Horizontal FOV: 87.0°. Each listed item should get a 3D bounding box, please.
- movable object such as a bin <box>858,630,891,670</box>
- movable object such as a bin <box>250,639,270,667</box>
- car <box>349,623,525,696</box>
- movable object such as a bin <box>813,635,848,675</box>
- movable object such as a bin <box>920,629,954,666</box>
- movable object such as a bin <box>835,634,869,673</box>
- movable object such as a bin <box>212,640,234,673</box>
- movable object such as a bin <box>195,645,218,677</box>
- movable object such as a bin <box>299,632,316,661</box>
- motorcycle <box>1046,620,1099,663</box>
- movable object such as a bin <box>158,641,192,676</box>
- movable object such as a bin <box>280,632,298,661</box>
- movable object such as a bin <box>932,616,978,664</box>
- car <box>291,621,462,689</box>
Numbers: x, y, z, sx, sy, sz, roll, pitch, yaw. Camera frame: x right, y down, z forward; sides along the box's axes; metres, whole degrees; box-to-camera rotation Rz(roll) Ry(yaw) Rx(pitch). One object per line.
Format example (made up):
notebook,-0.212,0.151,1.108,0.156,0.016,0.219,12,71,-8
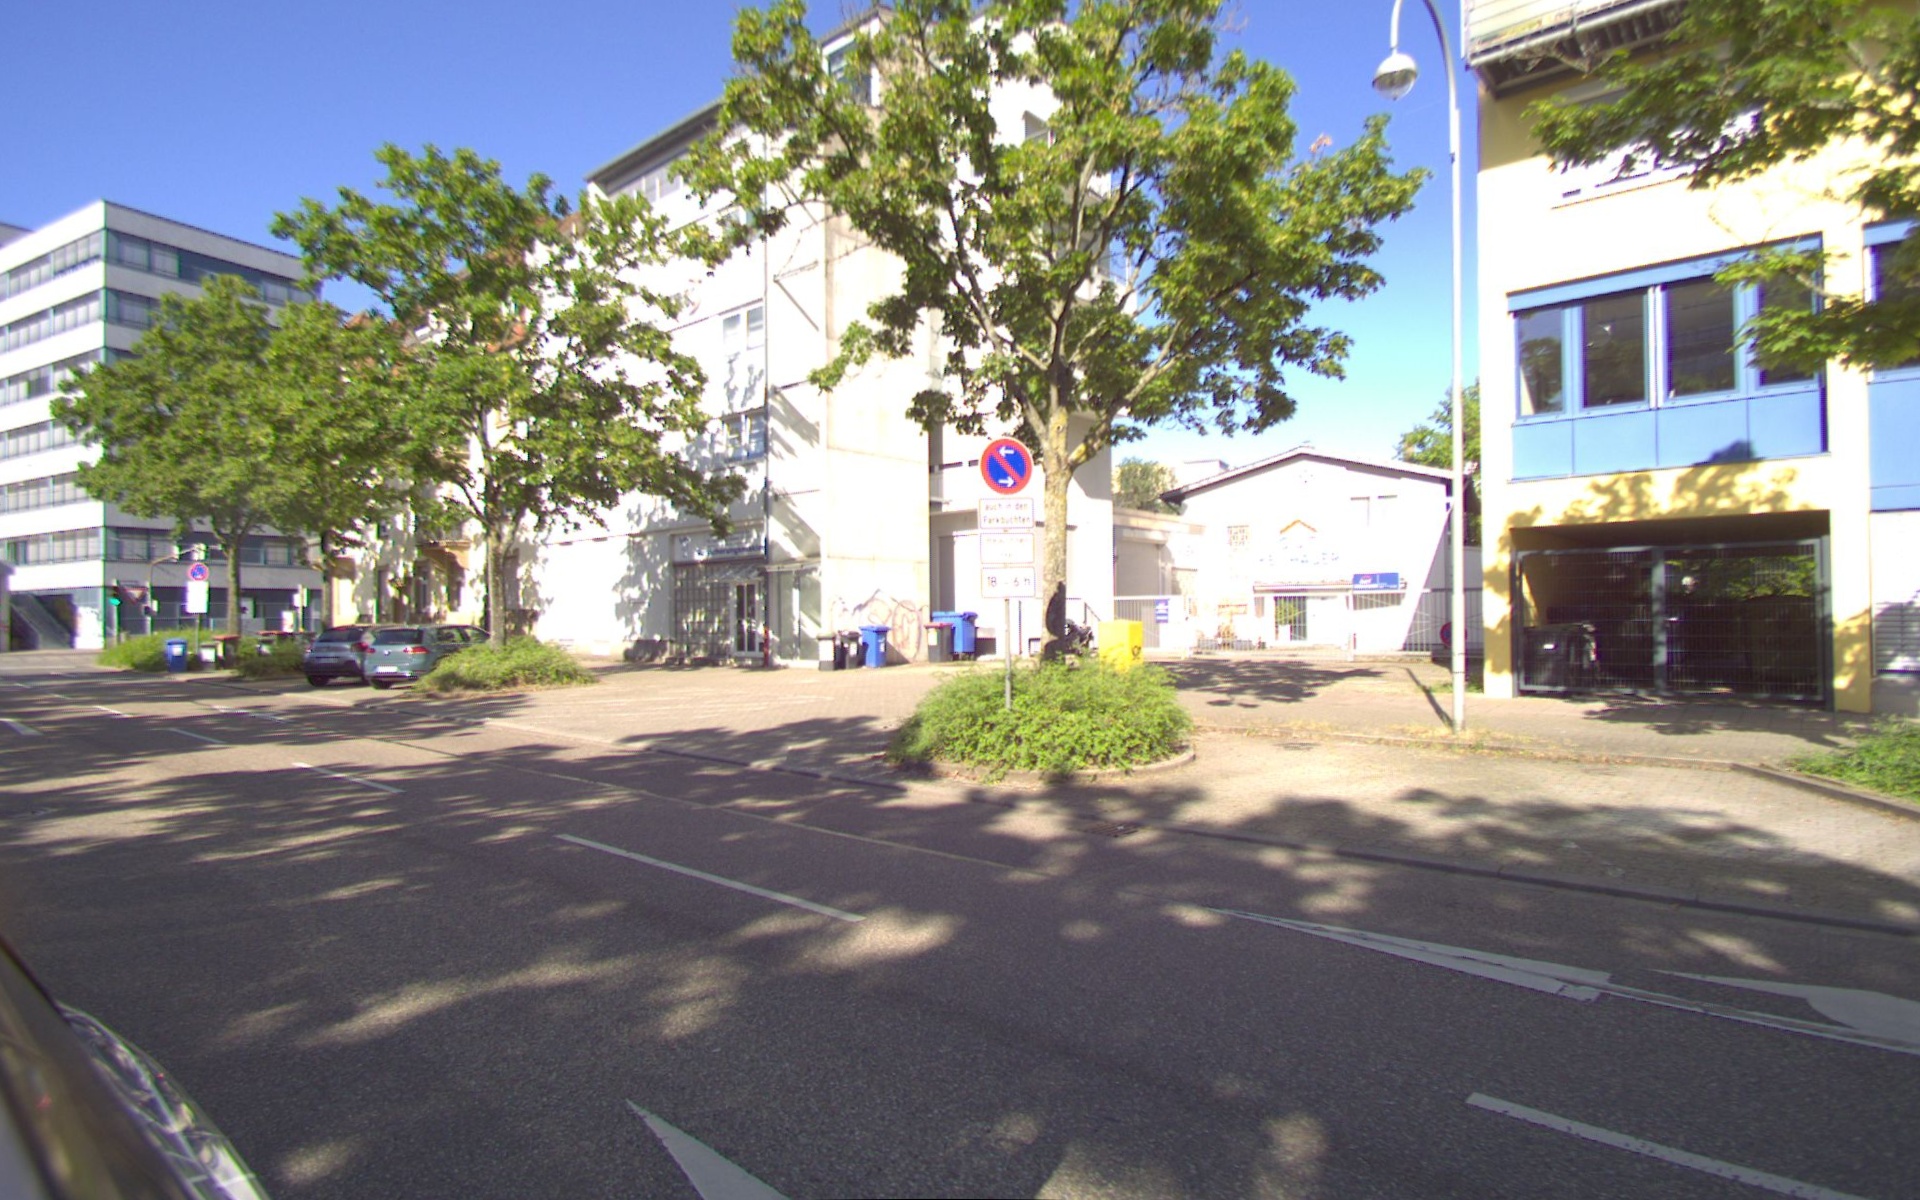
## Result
movable object such as a bin,-2.138,1.236,25.412,0.574,0.980,0.614,-1,-2,36
movable object such as a bin,-24.091,1.808,34.850,0.469,0.951,0.544,0,-2,-25
car,-12.322,1.362,24.153,1.789,1.475,3.992,-1,0,7
movable object such as a bin,-3.101,1.319,24.264,0.574,0.935,0.614,-1,-2,36
movable object such as a bin,-0.608,1.256,26.982,0.689,0.980,0.614,-1,-2,36
movable object such as a bin,-2.645,1.311,24.833,0.574,0.935,0.614,-1,-2,36
movable object such as a bin,-24.323,1.867,33.402,0.469,1.048,0.544,-1,0,-25
movable object such as a bin,-24.232,1.962,32.550,0.469,0.967,0.544,-1,0,-25
movable object such as a bin,-24.477,1.736,37.963,0.469,1.070,0.552,0,-2,-25
motorcycle,3.158,1.148,28.376,0.526,1.143,1.893,-2,-2,39
movable object such as a bin,-24.921,1.854,32.143,0.664,1.082,0.805,0,-2,-25
movable object such as a bin,-25.003,1.730,37.728,0.469,1.070,0.552,0,-2,-25
movable object such as a bin,-0.134,1.078,27.679,1.119,1.289,0.614,-1,-2,37
car,-14.795,1.352,25.933,1.789,1.475,3.992,-1,0,7
